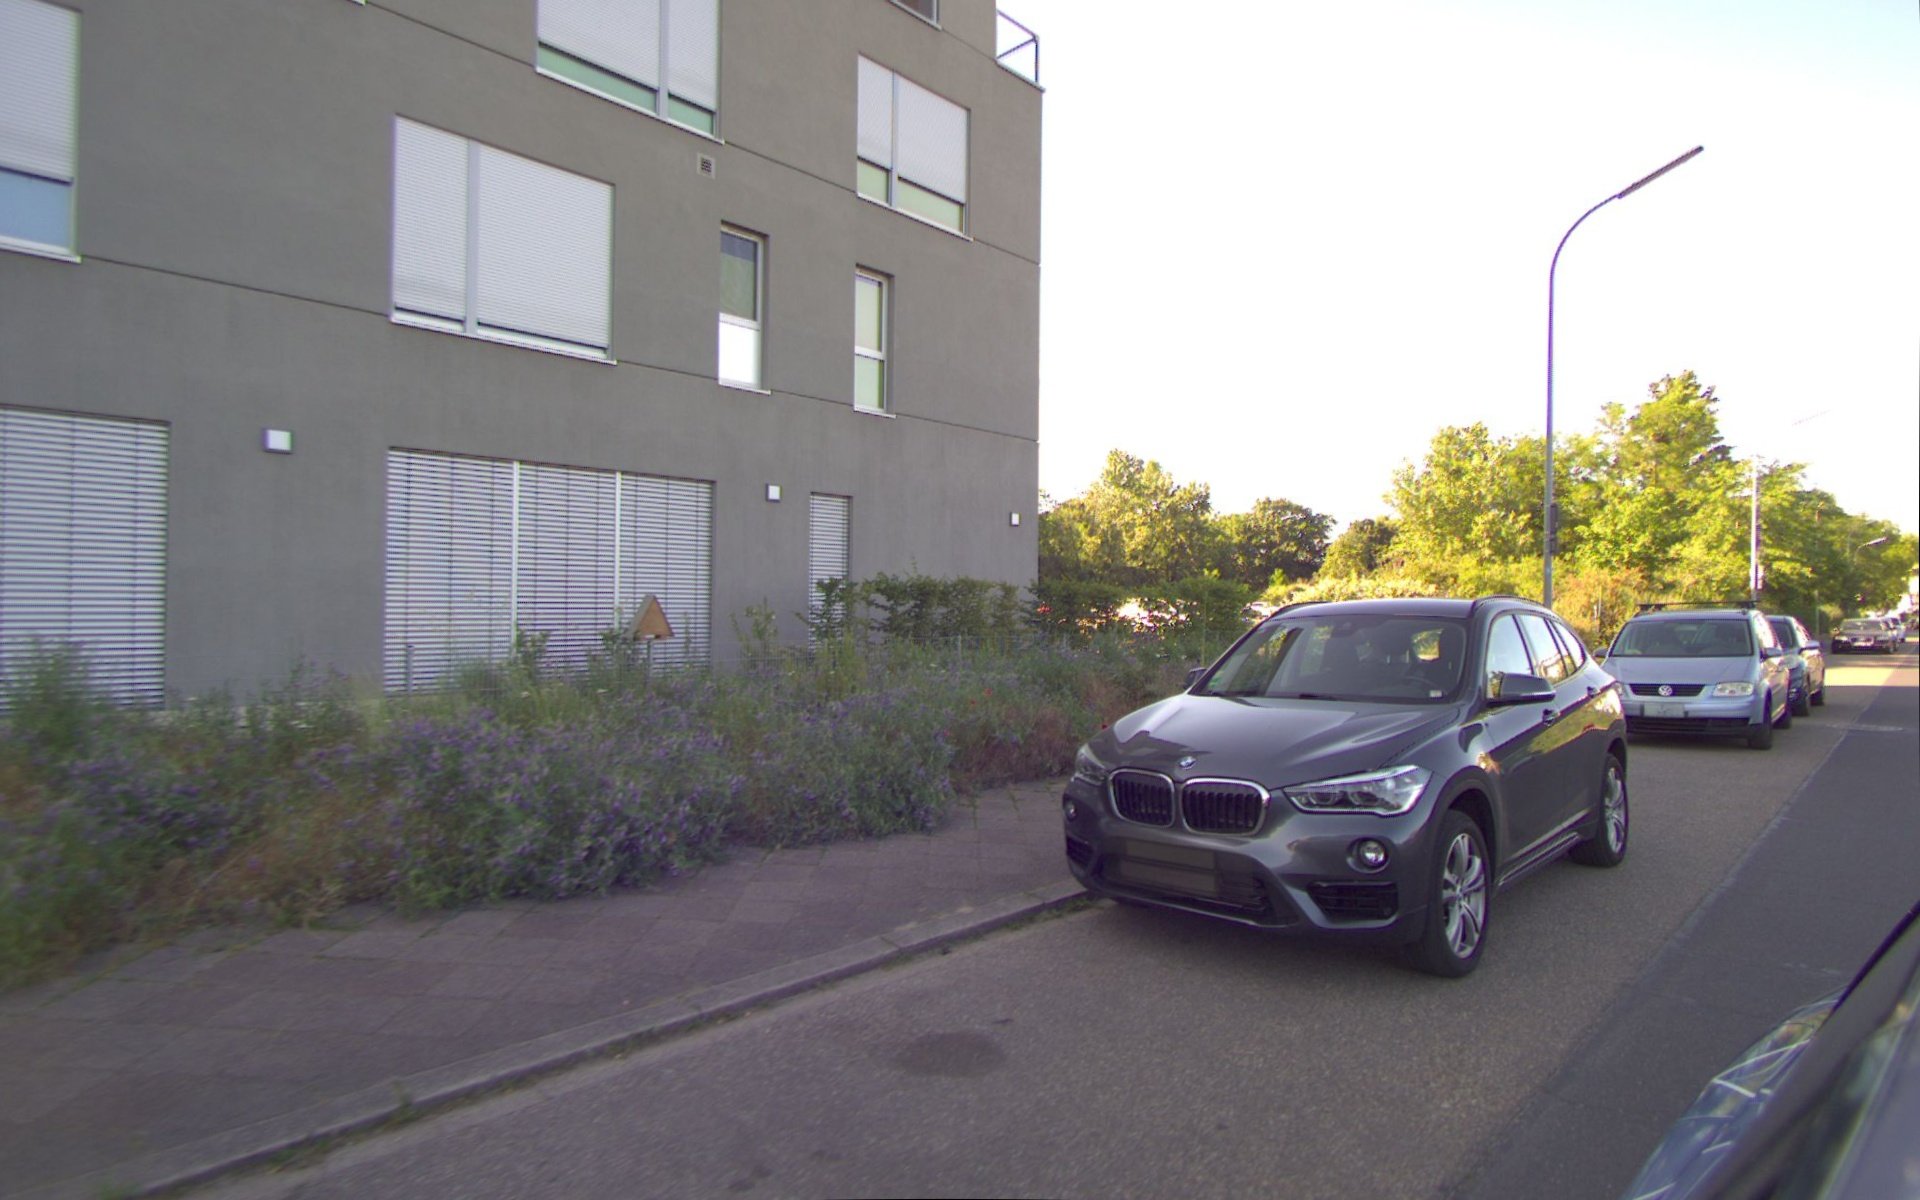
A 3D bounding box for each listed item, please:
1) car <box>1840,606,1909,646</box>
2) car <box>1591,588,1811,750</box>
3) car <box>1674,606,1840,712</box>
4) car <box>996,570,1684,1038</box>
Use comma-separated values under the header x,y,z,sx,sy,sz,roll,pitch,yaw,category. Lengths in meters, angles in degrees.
x,y,z,sx,sy,sz,roll,pitch,yaw,category
37.353,1.035,41.312,4.086,1.546,1.869,1,-1,-45,car
9.606,0.789,12.977,1.706,1.728,4.281,-3,-3,43,car
12.999,0.896,16.458,3.042,1.546,1.707,1,-3,-44,car
2.478,0.728,5.726,4.722,1.587,1.746,1,-2,-44,car
